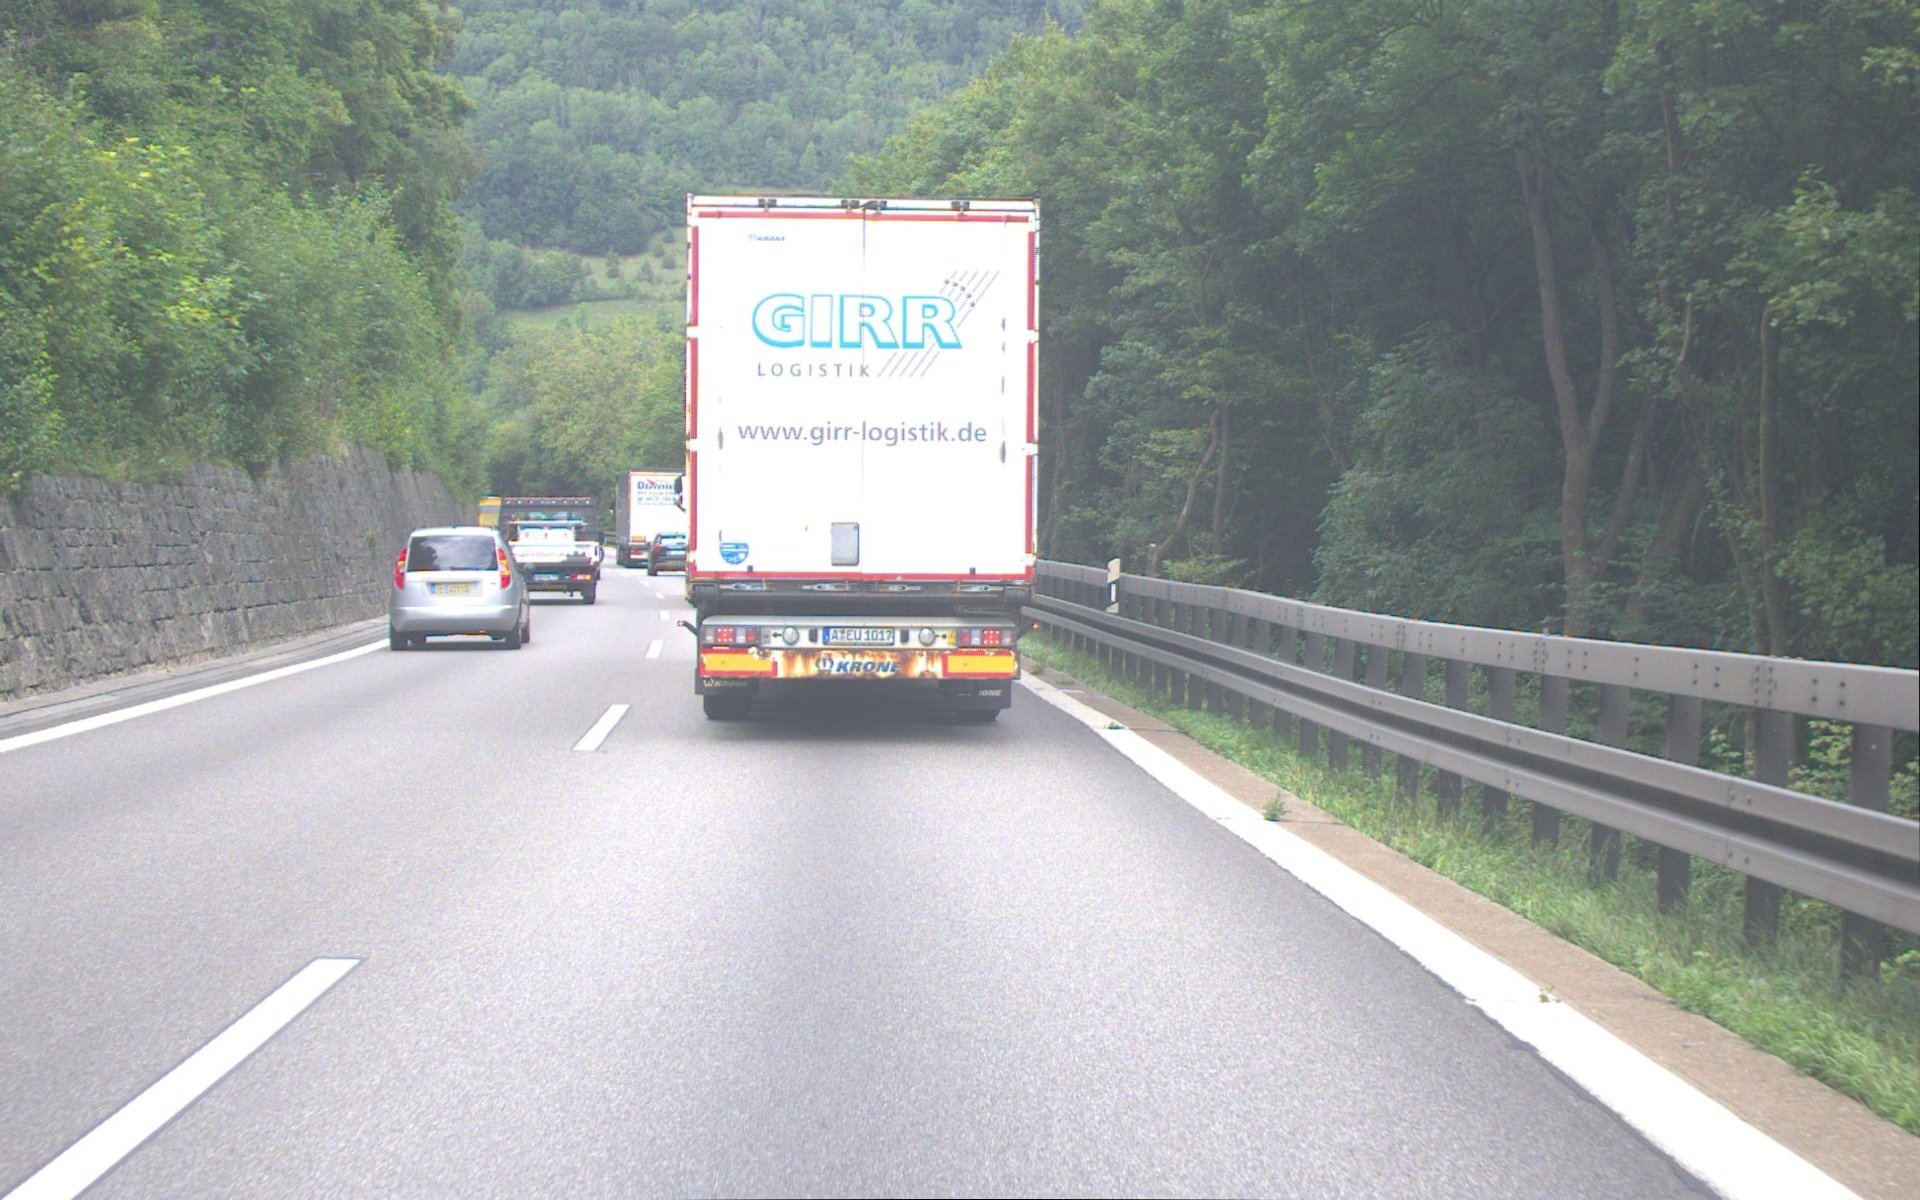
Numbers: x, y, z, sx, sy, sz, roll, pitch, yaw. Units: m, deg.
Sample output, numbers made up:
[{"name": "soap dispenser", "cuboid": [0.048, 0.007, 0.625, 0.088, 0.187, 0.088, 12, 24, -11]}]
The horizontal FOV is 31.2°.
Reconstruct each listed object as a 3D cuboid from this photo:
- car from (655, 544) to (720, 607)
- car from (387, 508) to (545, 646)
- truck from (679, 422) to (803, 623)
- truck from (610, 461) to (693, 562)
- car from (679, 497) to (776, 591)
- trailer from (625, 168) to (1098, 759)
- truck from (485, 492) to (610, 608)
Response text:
[{"name": "car", "cuboid": [-9.238, -0.826, 116.186, 1.993, 2.007, 4.001, 2, 0, -6]}, {"name": "car", "cuboid": [-6.559, -0.326, 45.977, 1.634, 1.720, 4.345, 1, 1, -3]}, {"name": "truck", "cuboid": [-4.504, -1.534, 69.962, 2.233, 3.791, 6.824, 2, 0, -4]}, {"name": "truck", "cuboid": [-12.641, -3.557, 140.381, 3.068, 3.864, 8.460, 2, 0, -6]}, {"name": "car", "cuboid": [-5.335, -1.263, 78.499, 1.993, 2.007, 4.334, 2, 0, -6]}, {"name": "trailer", "cuboid": [-0.943, -1.078, 29.324, 3.132, 4.029, 9.441, 4, 1, -3]}, {"name": "truck", "cuboid": [-8.742, -1.085, 73.415, 2.348, 2.266, 6.851, 2, 1, -5]}]
